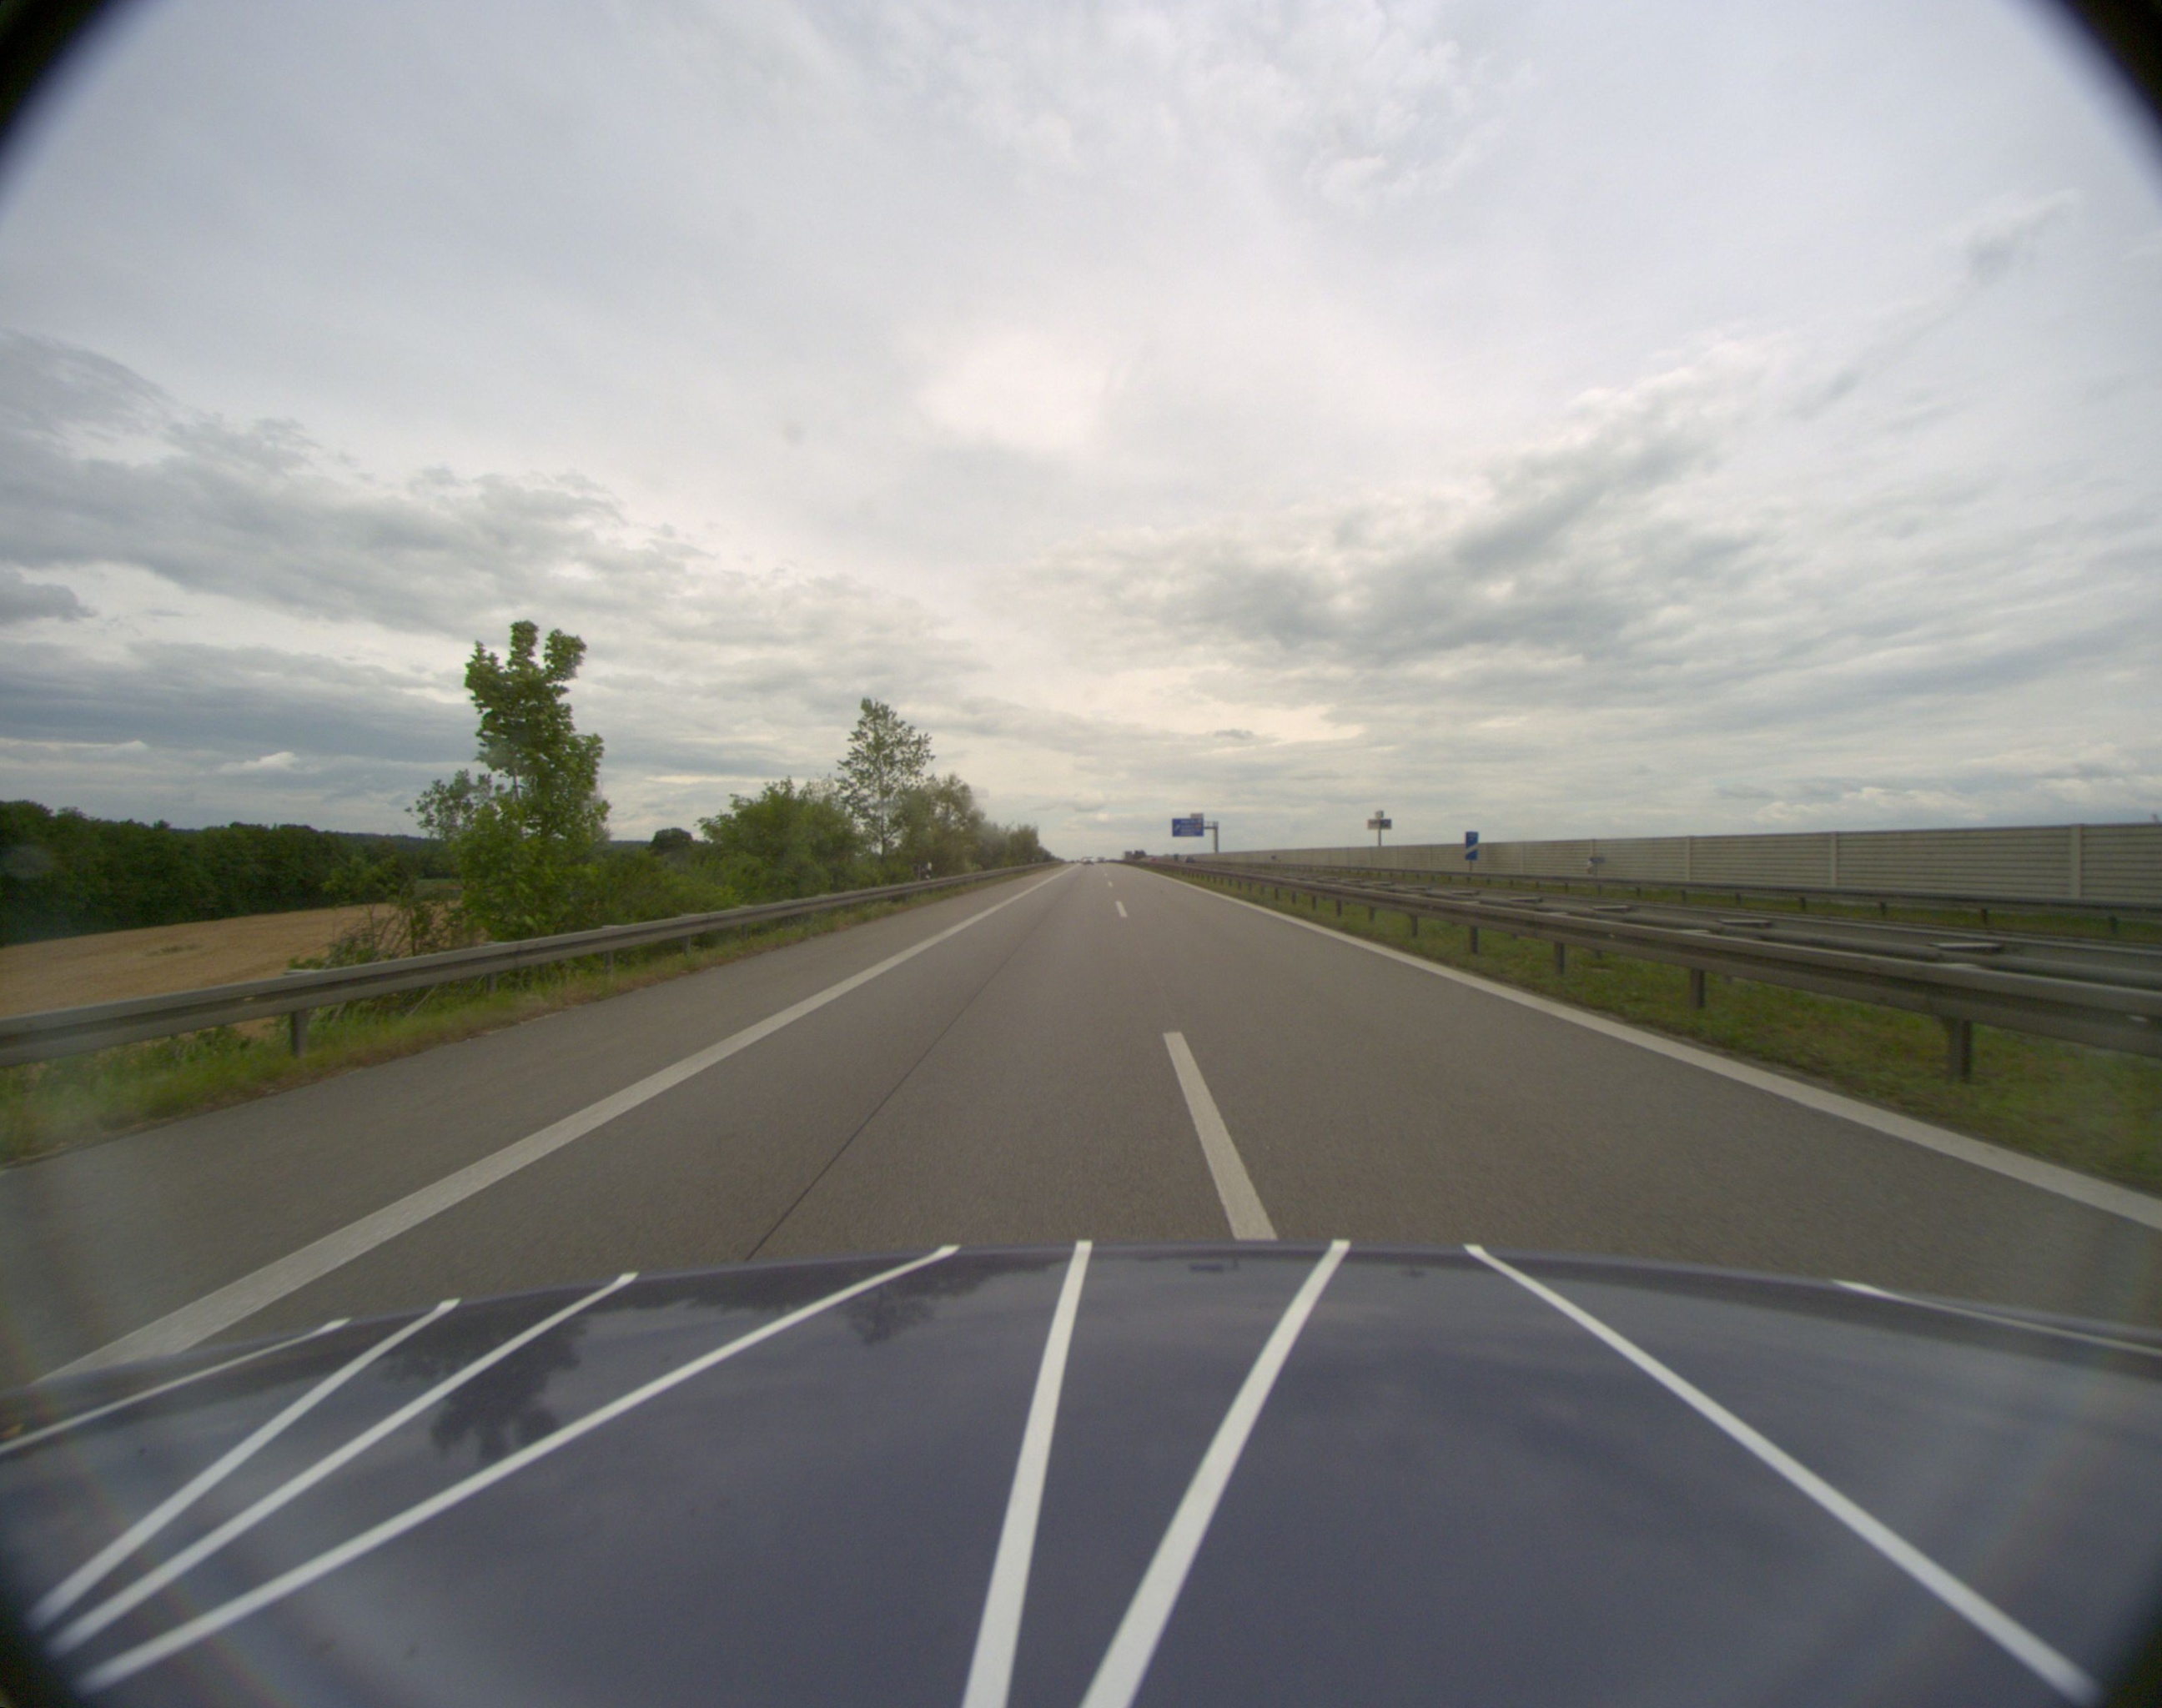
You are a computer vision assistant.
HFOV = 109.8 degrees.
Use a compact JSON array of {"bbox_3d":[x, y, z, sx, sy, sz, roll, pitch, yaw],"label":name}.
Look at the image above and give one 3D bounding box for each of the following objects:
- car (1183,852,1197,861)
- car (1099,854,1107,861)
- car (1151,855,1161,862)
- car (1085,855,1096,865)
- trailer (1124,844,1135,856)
[{"bbox_3d":[17.499,0.415,122.125,1.662,1.321,4.609,3,0,1],"label":"car"},{"bbox_3d":[5.182,0.880,177.500,1.850,1.664,4.200,0,-1,0],"label":"car"},{"bbox_3d":[17.040,1.026,173.323,1.822,1.395,4.876,0,0,1],"label":"car"},{"bbox_3d":[1.749,1.157,140.007,1.850,1.664,4.200,0,-1,0],"label":"car"},{"bbox_3d":[17.003,-1.289,269.056,3.187,4.052,14.023,0,0,0],"label":"trailer"}]
